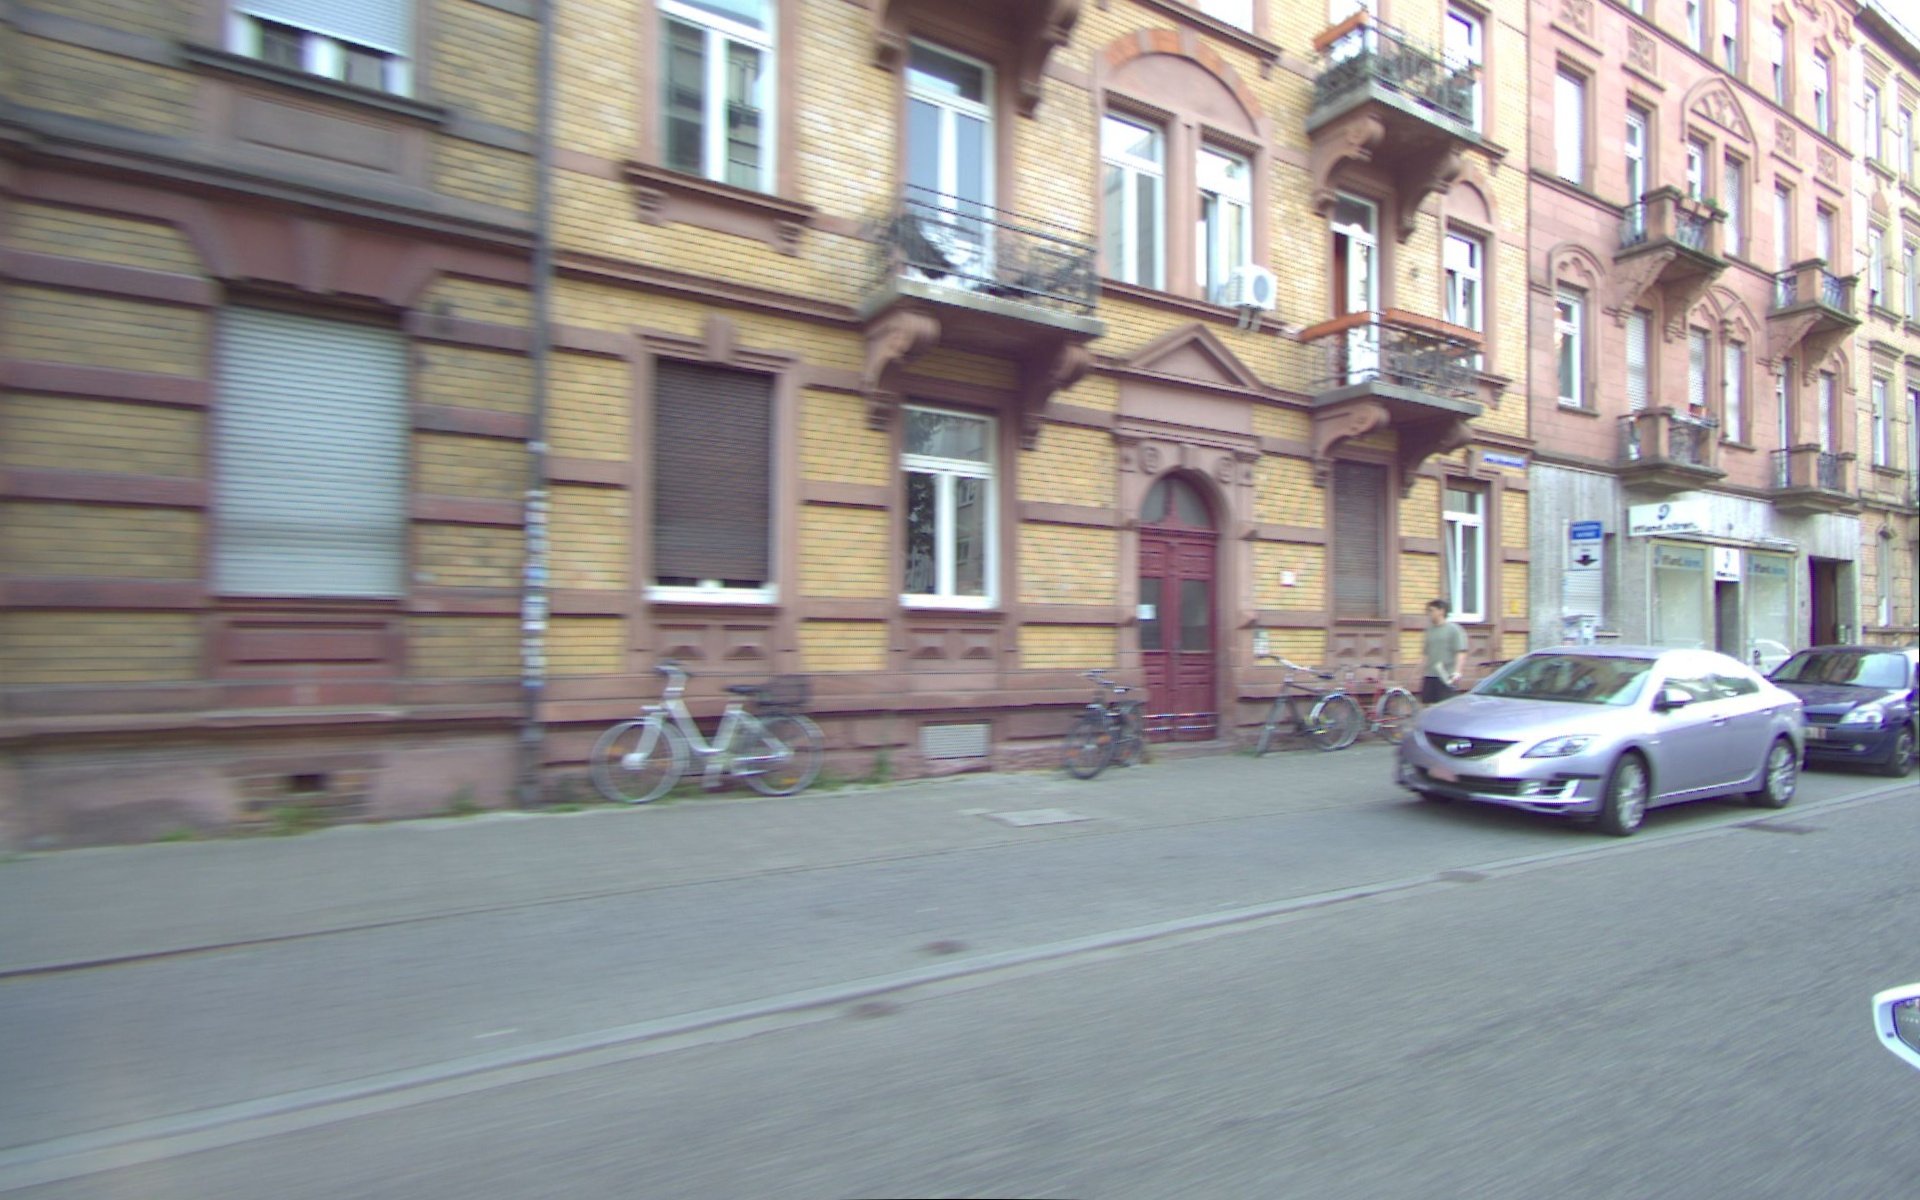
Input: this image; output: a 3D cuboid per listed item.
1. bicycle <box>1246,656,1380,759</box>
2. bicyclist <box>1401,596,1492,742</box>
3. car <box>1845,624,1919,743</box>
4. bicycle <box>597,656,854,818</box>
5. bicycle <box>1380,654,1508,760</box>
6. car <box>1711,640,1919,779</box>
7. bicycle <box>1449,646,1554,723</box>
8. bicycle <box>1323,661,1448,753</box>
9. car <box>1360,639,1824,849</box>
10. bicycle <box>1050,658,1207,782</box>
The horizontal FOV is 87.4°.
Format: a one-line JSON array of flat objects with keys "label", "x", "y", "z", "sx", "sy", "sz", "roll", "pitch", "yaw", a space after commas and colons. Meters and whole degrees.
[{"label": "bicycle", "x": 4.324, "y": 1.279, "z": 12.272, "sx": 1.739, "sy": 1.138, "sz": 0.546, "roll": 1, "pitch": 1, "yaw": -31}, {"label": "bicyclist", "x": 6.068, "y": 0.845, "z": 12.538, "sx": 0.835, "sy": 1.752, "sz": 0.703, "roll": 3, "pitch": -2, "yaw": -35}, {"label": "car", "x": 15.407, "y": 1.207, "z": 15.182, "sx": 4.395, "sy": 1.655, "sz": 1.844, "roll": 1, "pitch": -1, "yaw": -31}, {"label": "bicycle", "x": -1.930, "y": 1.088, "z": 8.399, "sx": 2.022, "sy": 1.186, "sz": 0.525, "roll": 1, "pitch": 0, "yaw": -28}, {"label": "bicycle", "x": 6.046, "y": 1.302, "z": 12.512, "sx": 1.725, "sy": 1.212, "sz": 0.703, "roll": 3, "pitch": -2, "yaw": -36}, {"label": "car", "x": 11.027, "y": 1.235, "z": 12.370, "sx": 3.653, "sy": 1.439, "sz": 1.577, "roll": 1, "pitch": -1, "yaw": -30}, {"label": "bicycle", "x": 7.952, "y": 1.212, "z": 14.721, "sx": 1.826, "sy": 1.036, "sz": 0.447, "roll": 1, "pitch": 1, "yaw": -31}, {"label": "bicycle", "x": 5.511, "y": 1.355, "z": 12.987, "sx": 1.739, "sy": 1.051, "sz": 0.546, "roll": 1, "pitch": 1, "yaw": -31}, {"label": "car", "x": 5.795, "y": 1.108, "z": 9.038, "sx": 4.530, "sy": 1.439, "sz": 1.714, "roll": 2, "pitch": -1, "yaw": -31}, {"label": "bicycle", "x": 1.783, "y": 1.214, "z": 10.534, "sx": 1.596, "sy": 1.138, "sz": 0.732, "roll": 1, "pitch": -1, "yaw": -38}]
